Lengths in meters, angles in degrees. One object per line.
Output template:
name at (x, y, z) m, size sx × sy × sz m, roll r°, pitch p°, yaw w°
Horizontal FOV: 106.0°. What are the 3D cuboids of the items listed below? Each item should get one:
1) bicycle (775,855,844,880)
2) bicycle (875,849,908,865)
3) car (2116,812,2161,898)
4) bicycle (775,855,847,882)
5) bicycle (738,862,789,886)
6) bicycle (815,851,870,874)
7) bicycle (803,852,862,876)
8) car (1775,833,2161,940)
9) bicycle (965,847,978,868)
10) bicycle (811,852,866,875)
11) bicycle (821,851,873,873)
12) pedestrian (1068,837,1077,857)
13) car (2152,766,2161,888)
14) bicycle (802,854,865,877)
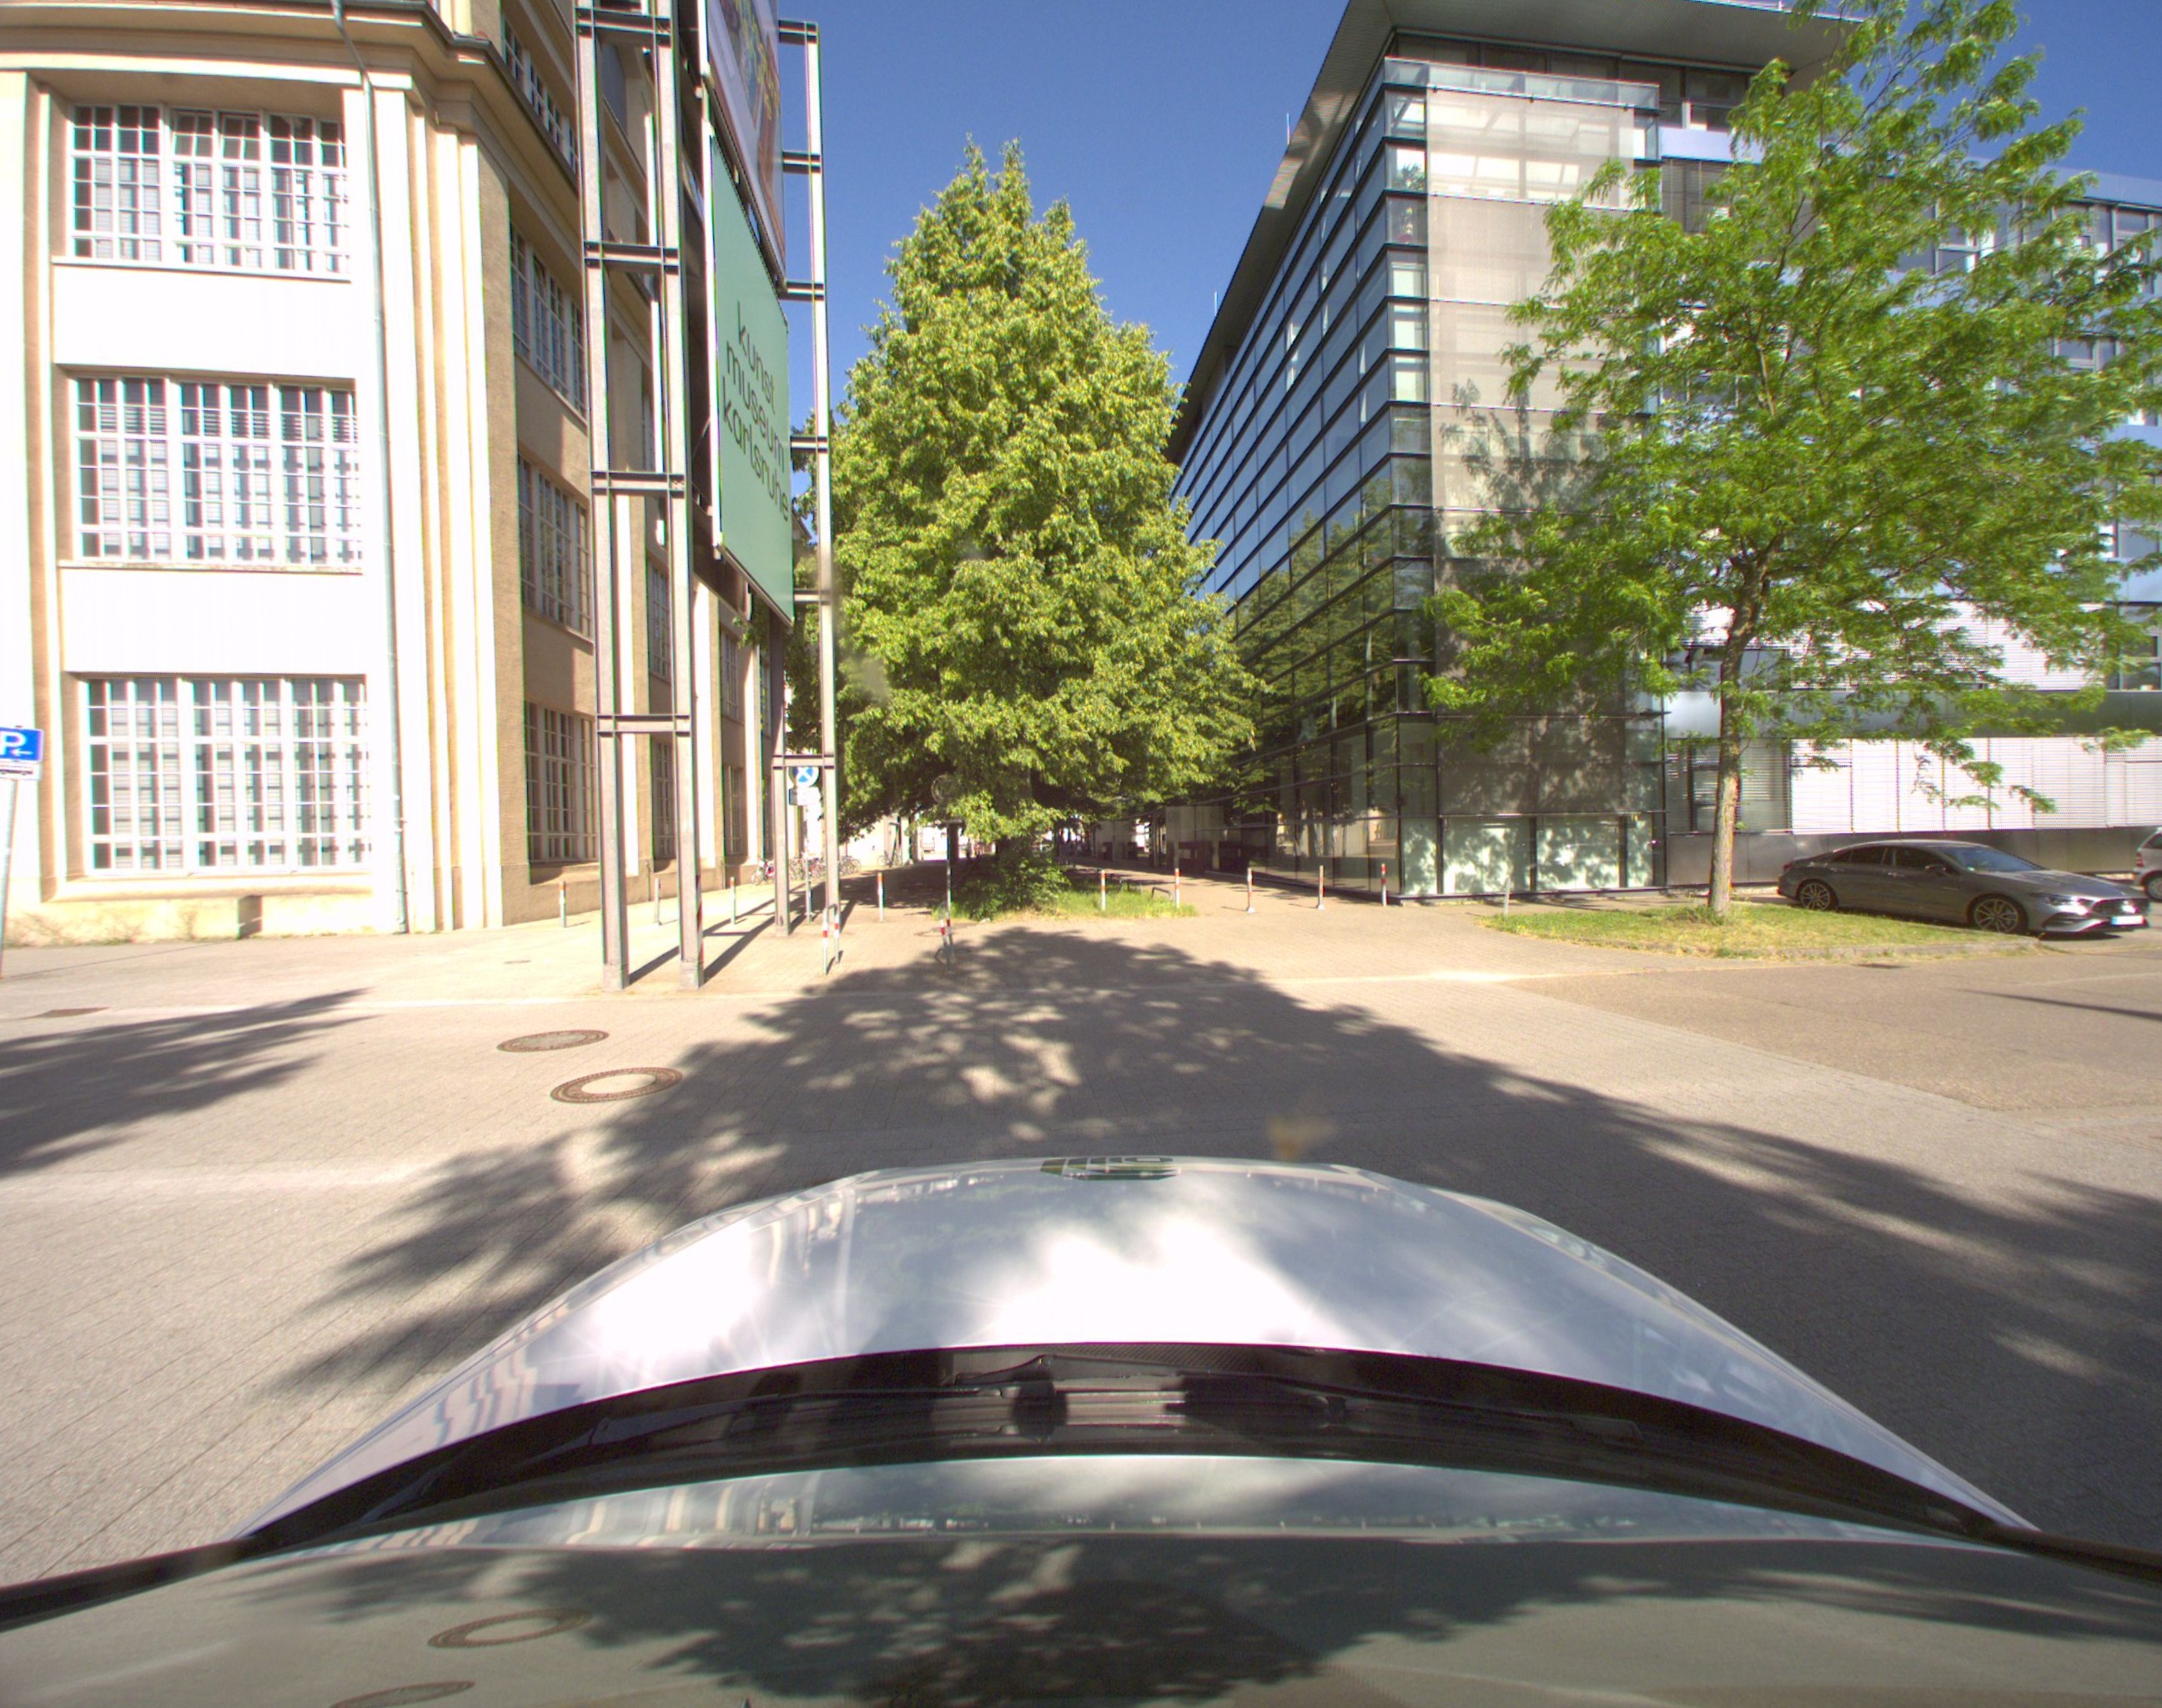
bicycle at (-12.133, 0.601, 36.450) m, size 2.797 × 1.063 × 0.717 m, roll -1°, pitch 1°, yaw -7°
bicycle at (-12.679, 0.200, 54.546) m, size 2.054 × 1.066 × 0.506 m, roll -1°, pitch 1°, yaw -5°
car at (22.253, 0.089, 14.784) m, size 1.884 × 1.644 × 3.837 m, roll -1°, pitch 4°, yaw -6°
bicycle at (-11.553, 0.623, 34.940) m, size 2.801 × 1.063 × 0.716 m, roll -1°, pitch 1°, yaw -11°
bicycle at (-12.454, 0.778, 32.039) m, size 0.775 × 0.792 × 2.885 m, roll -1°, pitch 1°, yaw 2°
bicycle at (-12.818, 0.469, 43.892) m, size 2.732 × 1.150 × 0.716 m, roll -1°, pitch 1°, yaw -11°
bicycle at (-12.693, 0.503, 41.639) m, size 2.801 × 1.150 × 0.716 m, roll -1°, pitch 1°, yaw -11°
car at (14.863, 0.402, 13.907) m, size 1.884 × 1.350 × 4.541 m, roll -1°, pitch 3°, yaw -6°
bicycle at (-6.655, 0.207, 49.475) m, size 0.619 × 1.197 × 2.123 m, roll -1°, pitch 1°, yaw -11°
bicycle at (-12.820, 0.498, 43.099) m, size 2.732 × 1.150 × 0.716 m, roll -1°, pitch 1°, yaw -11°
bicycle at (-13.121, 0.462, 45.719) m, size 2.732 × 1.150 × 0.716 m, roll -1°, pitch 1°, yaw -11°
pedestrian at (-0.657, -0.547, 63.948) m, size 0.714 × 1.550 × 0.690 m, roll -1°, pitch 1°, yaw 0°
car at (24.781, -0.498, 15.176) m, size 2.222 × 2.622 × 5.460 m, roll -1°, pitch 3°, yaw -7°
bicycle at (-11.942, 0.549, 39.402) m, size 2.801 × 1.063 × 0.716 m, roll -1°, pitch 1°, yaw -11°
